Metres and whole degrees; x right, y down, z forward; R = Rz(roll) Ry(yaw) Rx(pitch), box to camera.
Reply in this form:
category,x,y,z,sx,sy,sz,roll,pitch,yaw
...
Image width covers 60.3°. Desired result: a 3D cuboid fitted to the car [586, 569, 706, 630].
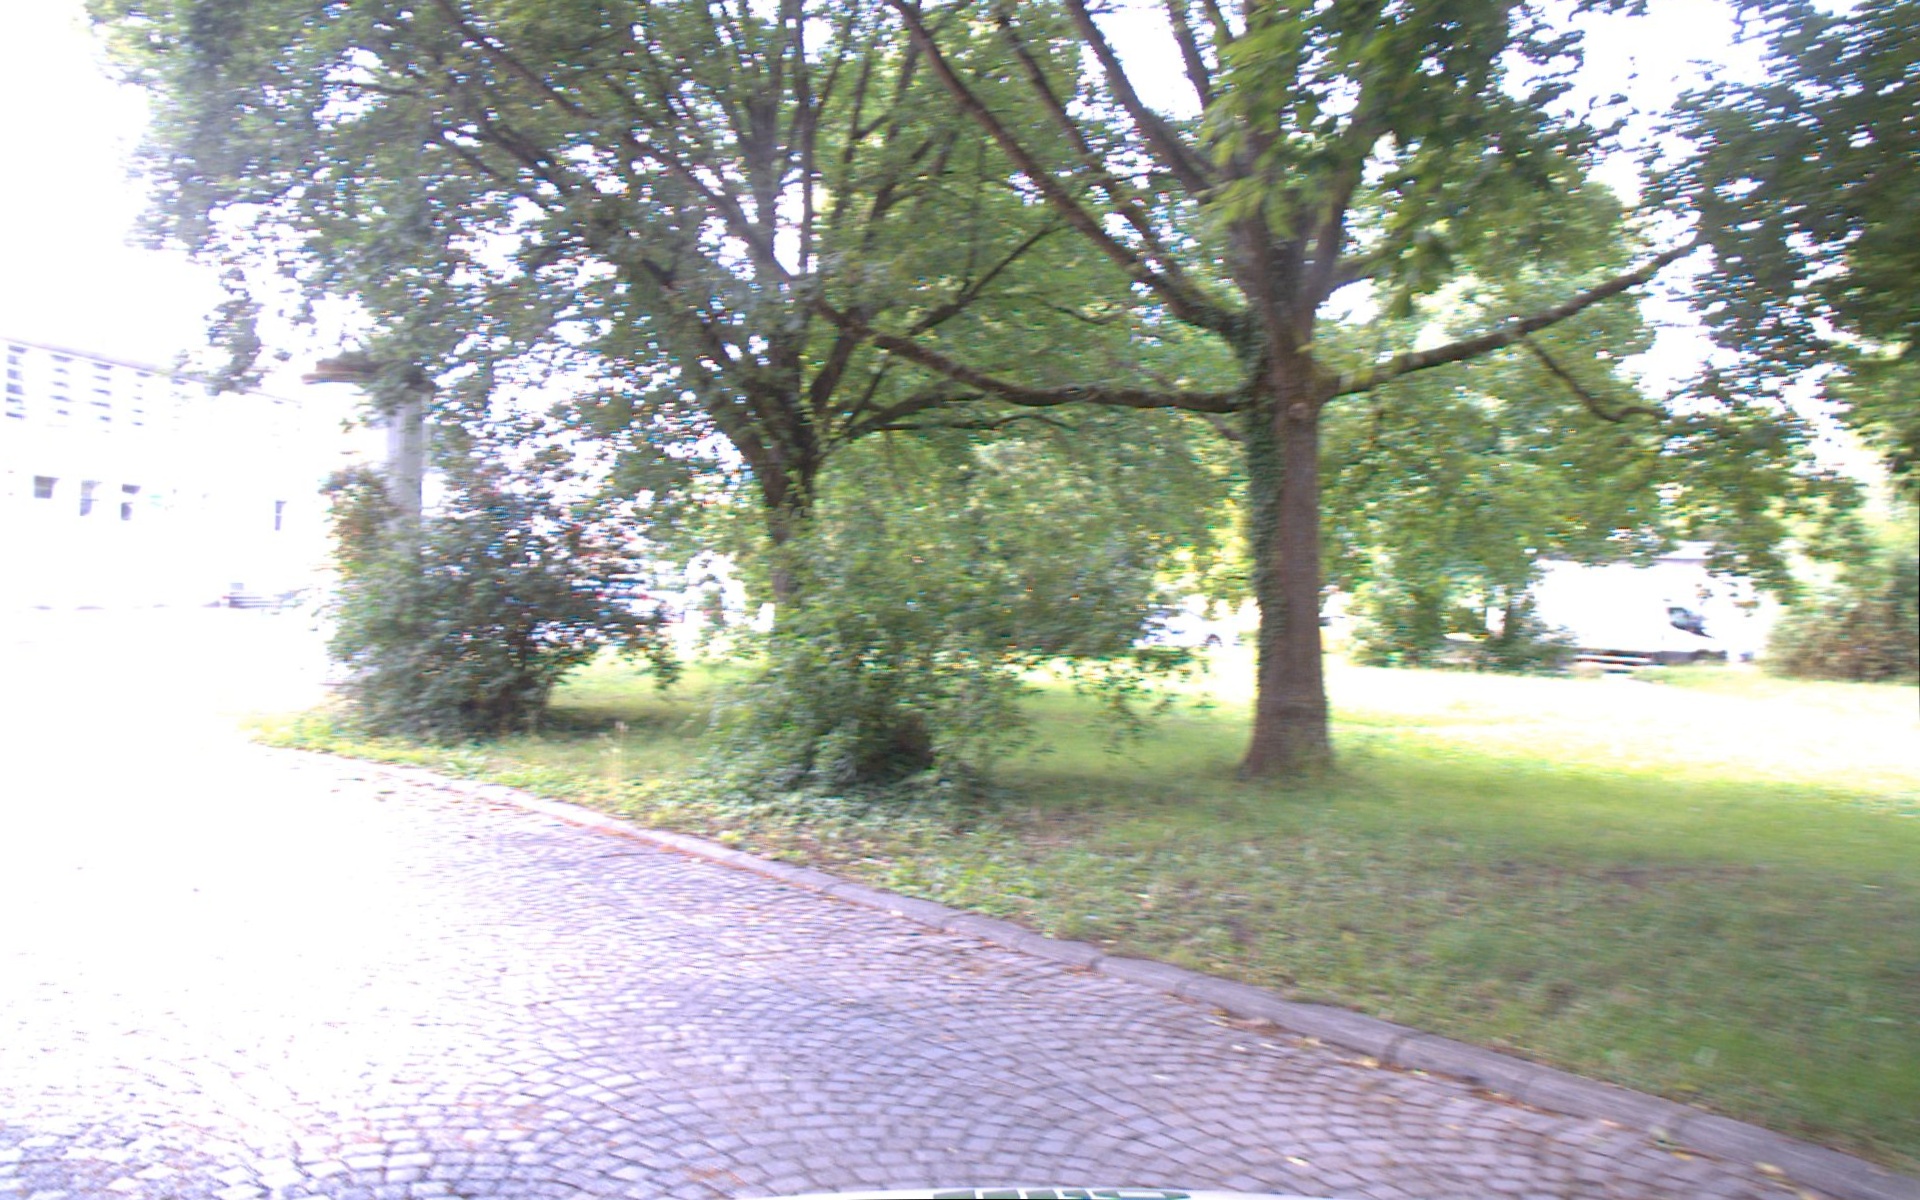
category,x,y,z,sx,sy,sz,roll,pitch,yaw
car,-9.589,-0.027,50.894,1.939,1.713,4.578,3,1,12

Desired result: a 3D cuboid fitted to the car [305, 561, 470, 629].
category,x,y,z,sx,sy,sz,roll,pitch,yaw
car,-18.342,-0.141,53.141,4.535,2.049,2.000,1,-1,2

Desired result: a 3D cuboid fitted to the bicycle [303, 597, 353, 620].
category,x,y,z,sx,sy,sz,roll,pitch,yaw
bicycle,-23.097,0.299,60.459,1.644,0.771,0.567,3,0,-19

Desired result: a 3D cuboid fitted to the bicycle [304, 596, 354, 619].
category,x,y,z,sx,sy,sz,roll,pitch,yaw
bicycle,-23.384,0.279,61.317,1.644,0.771,0.567,3,0,-19
